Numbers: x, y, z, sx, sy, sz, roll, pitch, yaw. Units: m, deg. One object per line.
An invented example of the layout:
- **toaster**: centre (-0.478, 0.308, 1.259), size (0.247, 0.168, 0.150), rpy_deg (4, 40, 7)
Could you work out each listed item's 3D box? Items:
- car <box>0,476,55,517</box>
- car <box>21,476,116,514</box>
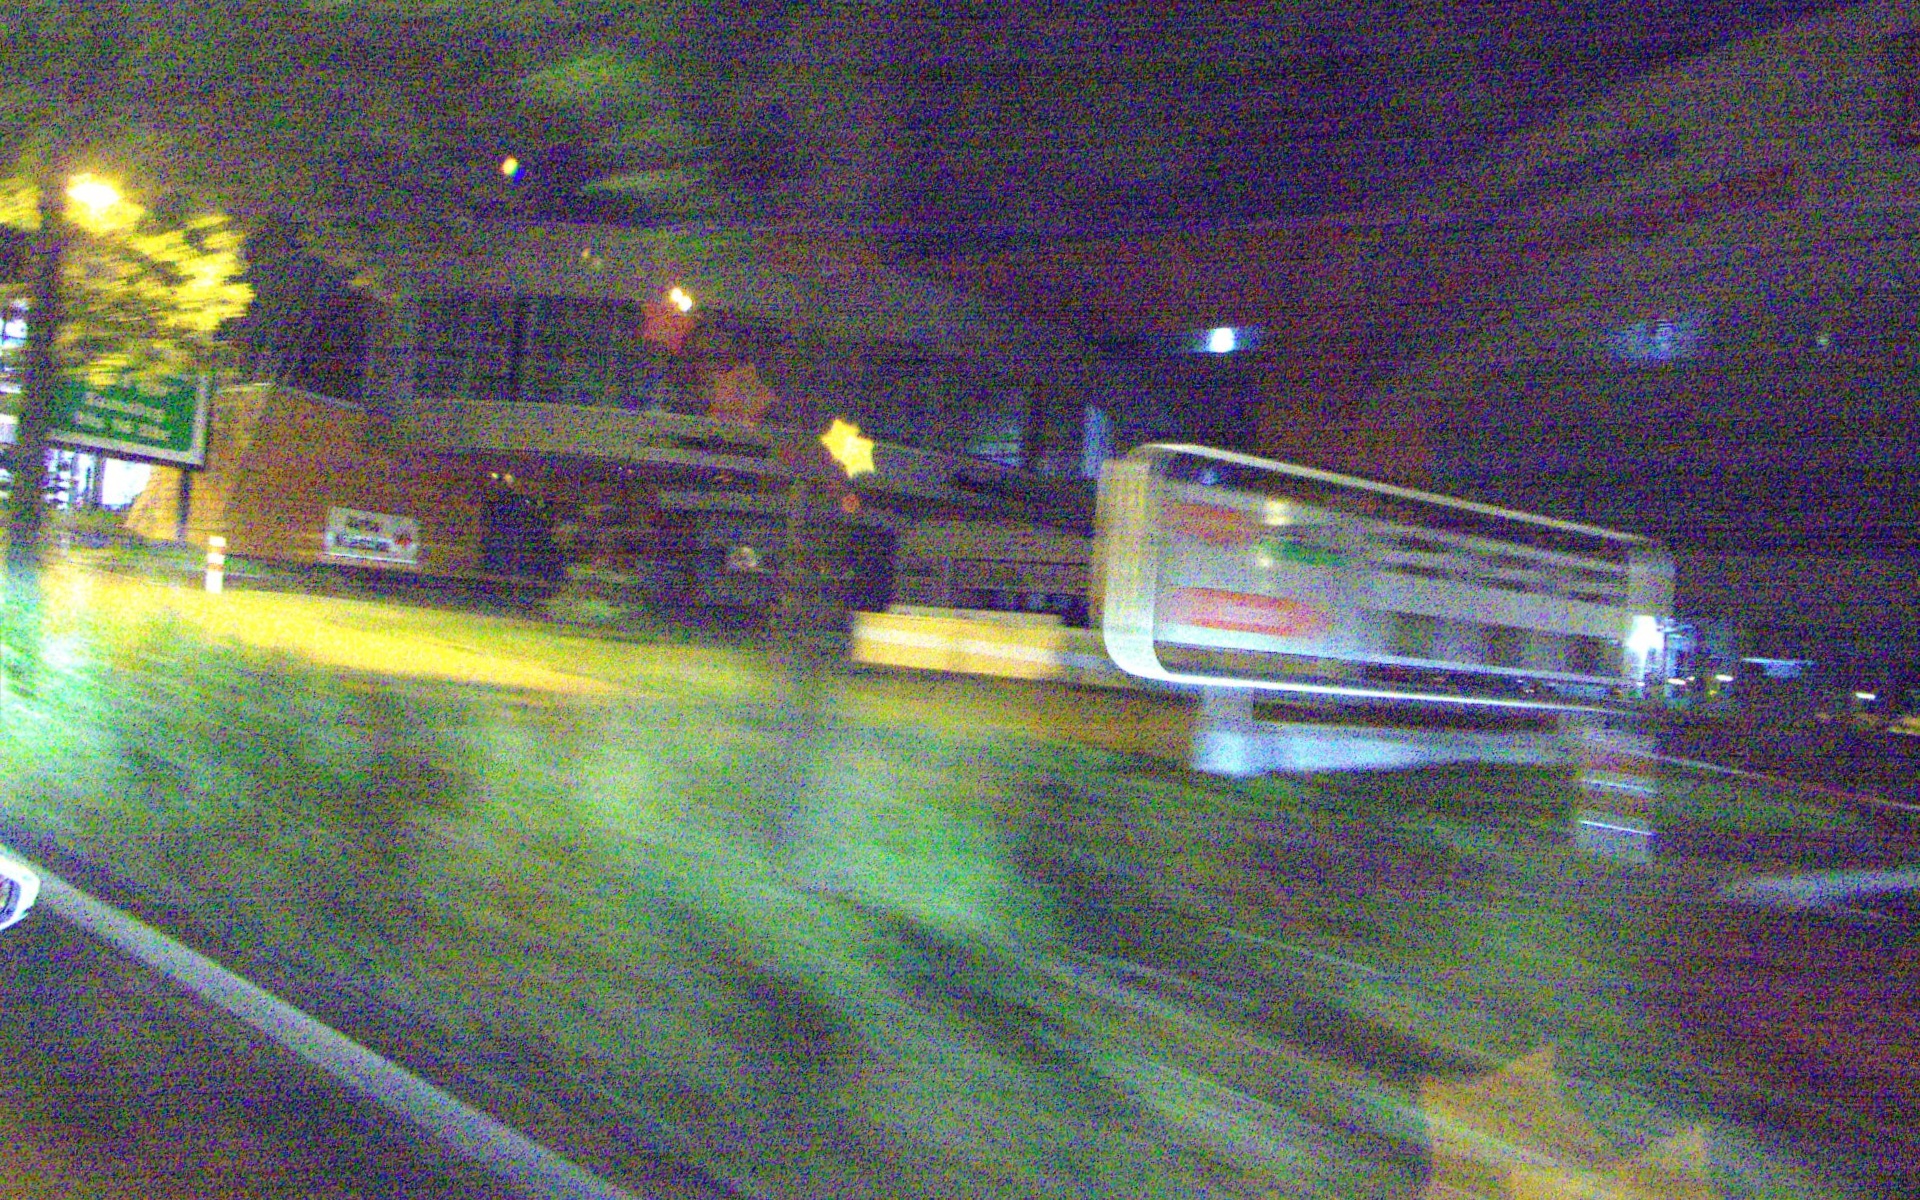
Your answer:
- **car**: centre (-47.664, -5.265, 50.021), size (3.891, 1.733, 1.812), rpy_deg (6, 0, 10)
- **car**: centre (-47.907, -5.644, 54.092), size (3.891, 1.600, 1.797), rpy_deg (6, 4, 10)
